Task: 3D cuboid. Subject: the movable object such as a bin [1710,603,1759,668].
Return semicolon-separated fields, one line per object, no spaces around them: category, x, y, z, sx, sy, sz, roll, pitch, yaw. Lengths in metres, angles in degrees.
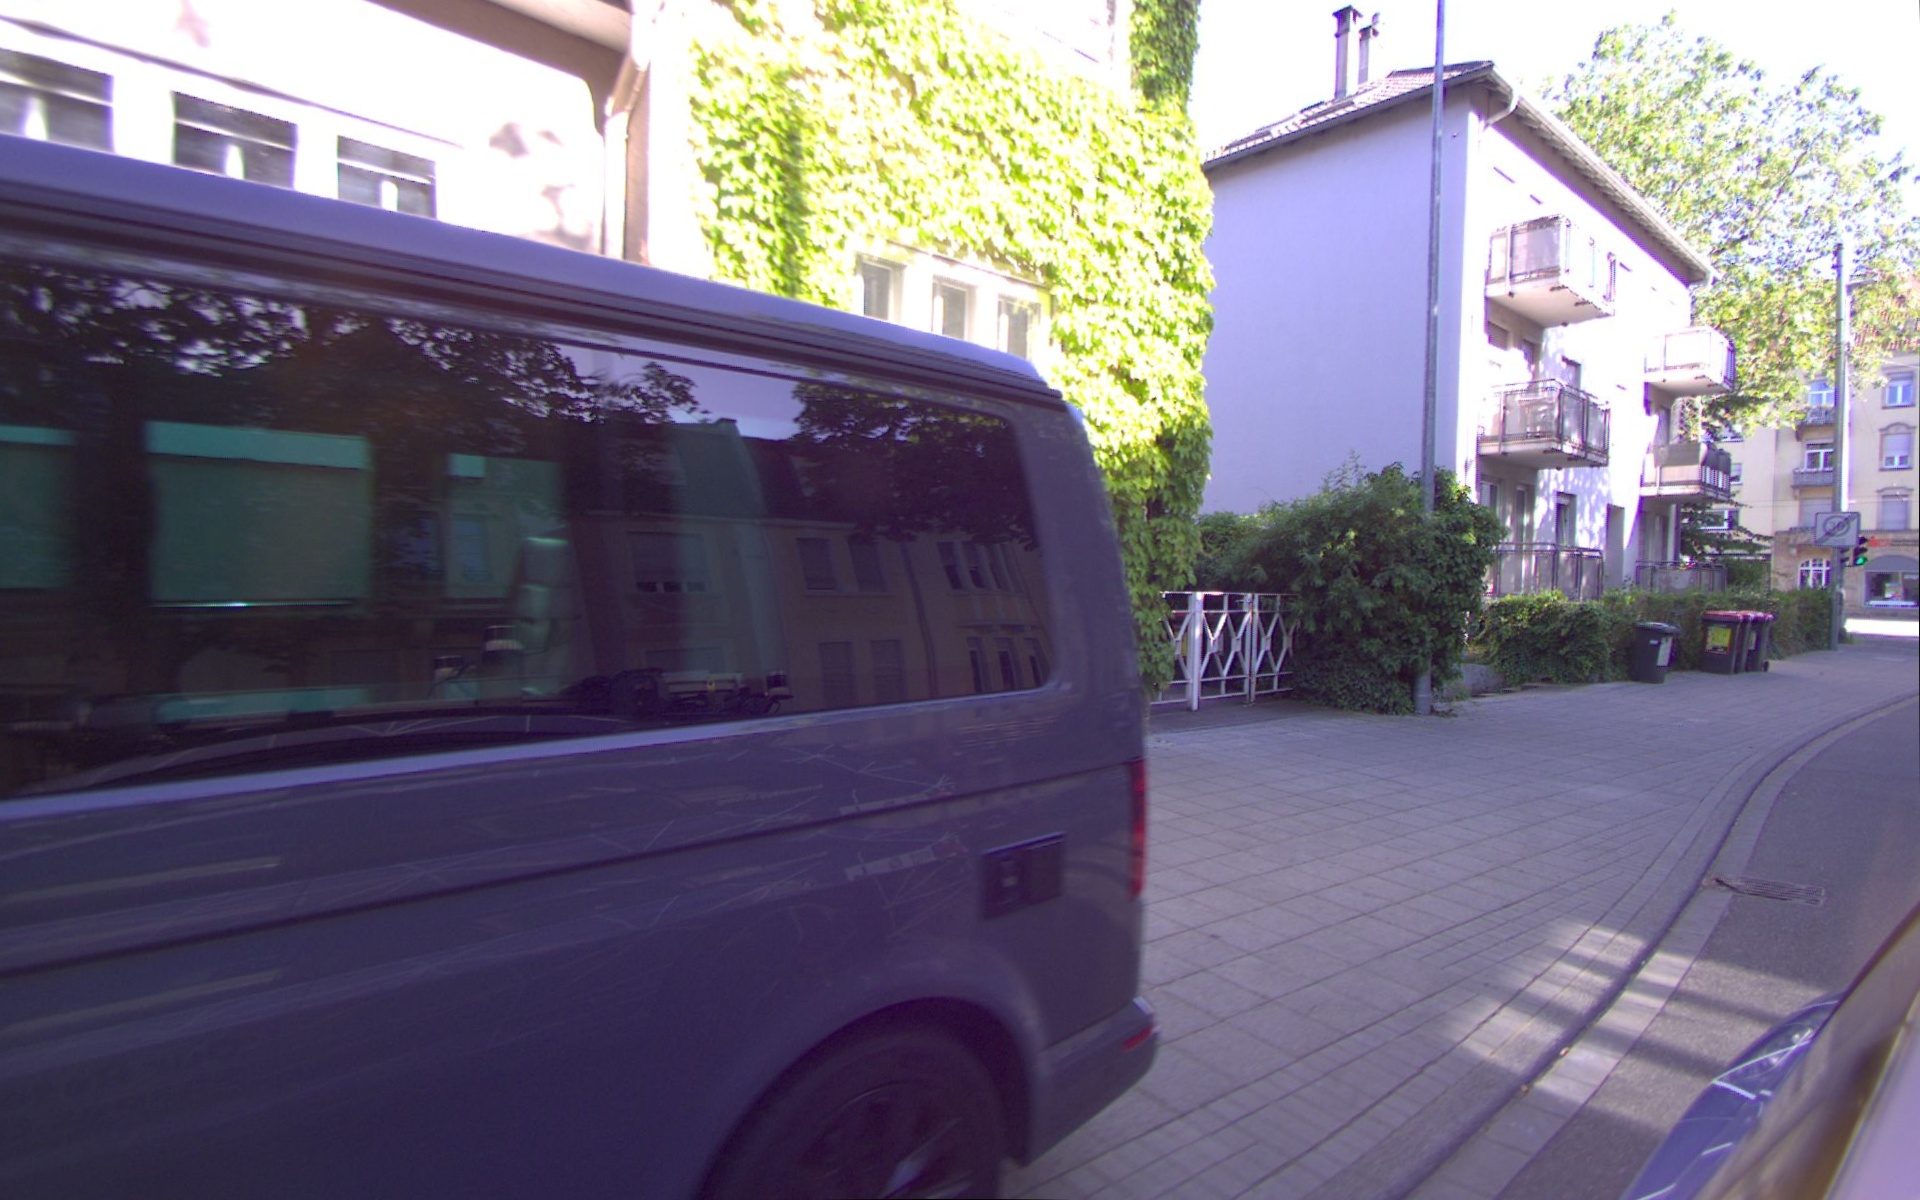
movable object such as a bin;13.430;0.609;17.539;0.608;1.056;0.484;0;5;-41

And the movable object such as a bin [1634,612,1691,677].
movable object such as a bin;10.880;0.683;15.675;0.562;0.926;0.505;0;5;-37

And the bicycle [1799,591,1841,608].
bicycle;53.530;-0.022;62.997;0.508;0.987;1.951;-2;3;-40

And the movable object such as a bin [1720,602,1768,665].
movable object such as a bin;13.967;0.585;18.025;0.645;1.056;0.484;0;5;-41

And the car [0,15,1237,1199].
car;-1.840;0.356;1.467;4.696;1.939;1.870;0;4;-39

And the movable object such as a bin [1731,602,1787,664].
movable object such as a bin;14.606;0.589;18.501;0.695;1.056;0.598;0;5;-41
